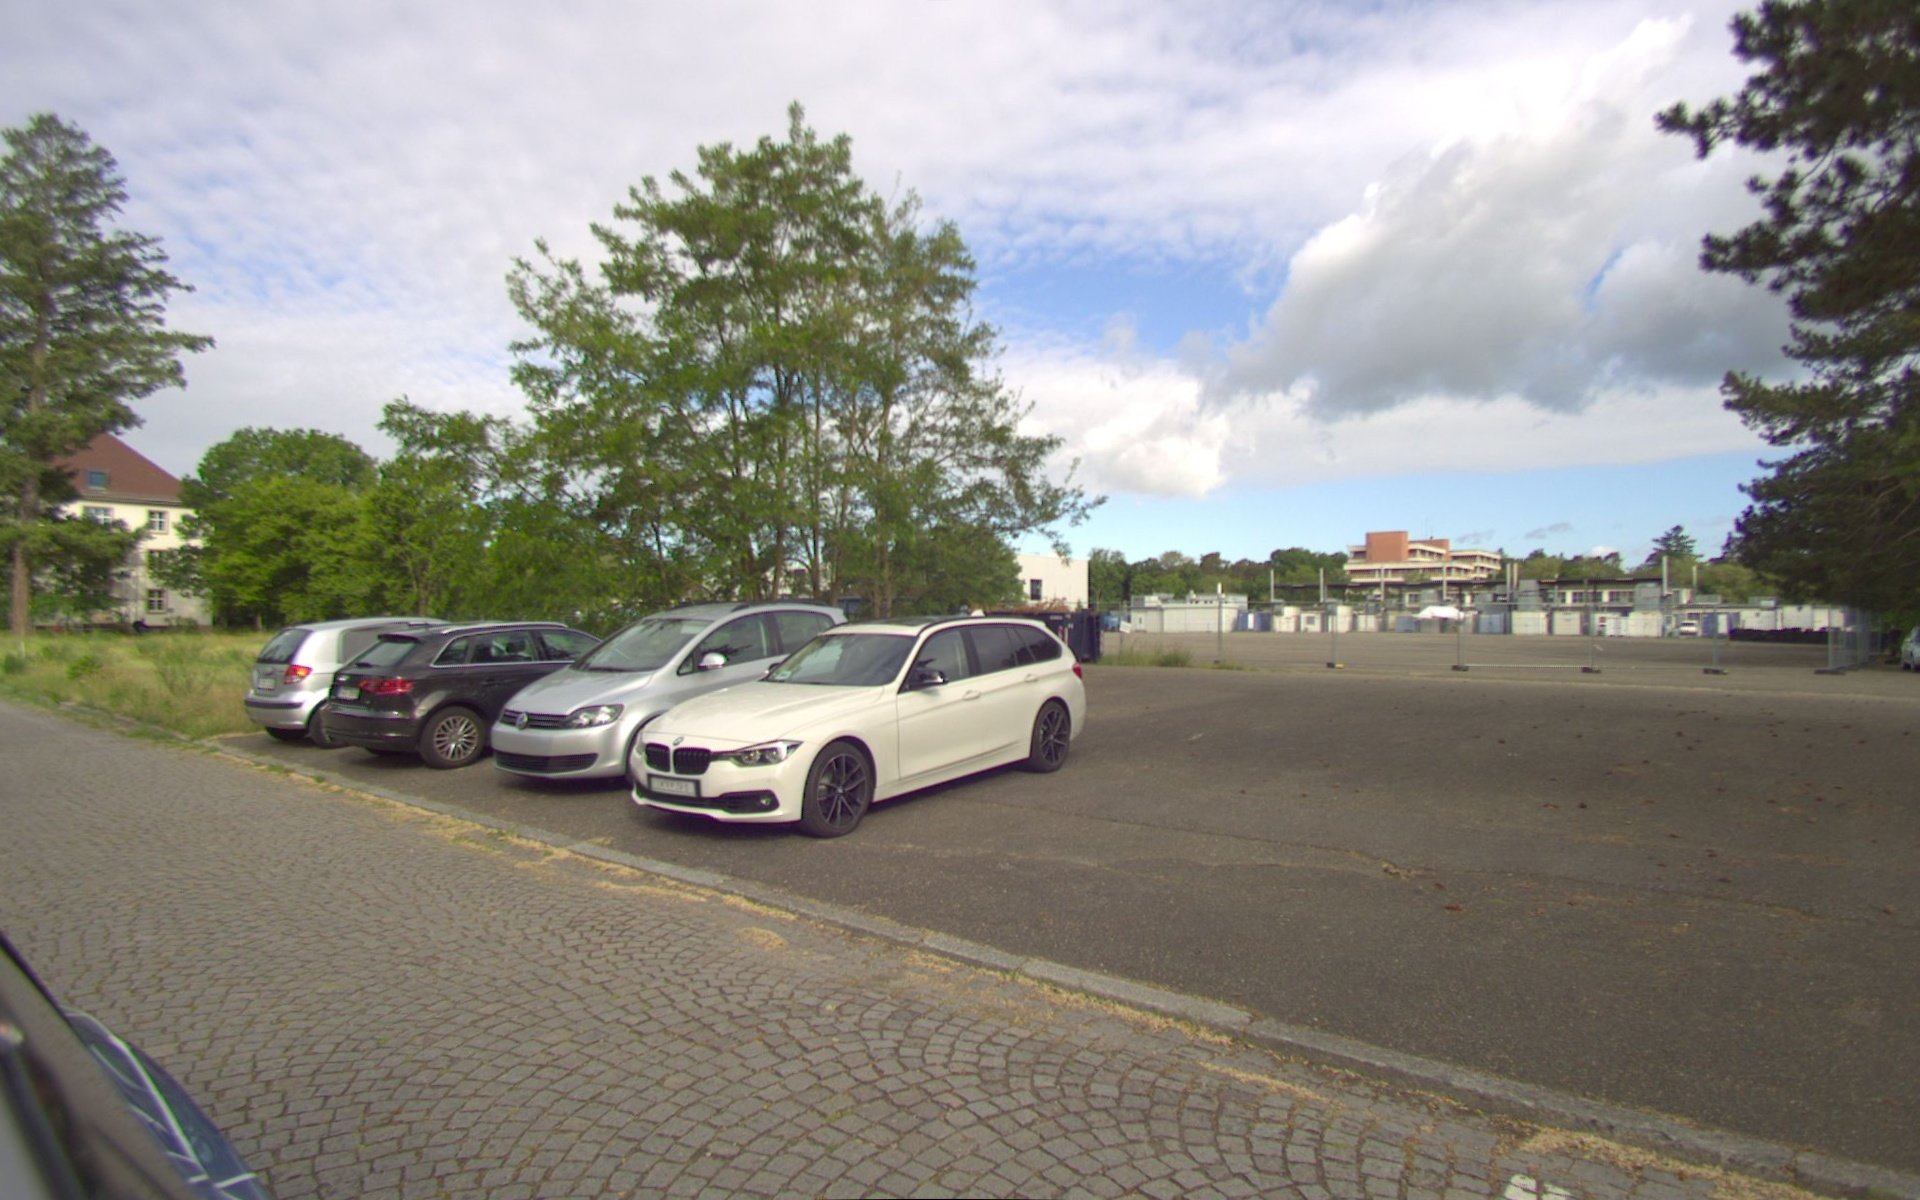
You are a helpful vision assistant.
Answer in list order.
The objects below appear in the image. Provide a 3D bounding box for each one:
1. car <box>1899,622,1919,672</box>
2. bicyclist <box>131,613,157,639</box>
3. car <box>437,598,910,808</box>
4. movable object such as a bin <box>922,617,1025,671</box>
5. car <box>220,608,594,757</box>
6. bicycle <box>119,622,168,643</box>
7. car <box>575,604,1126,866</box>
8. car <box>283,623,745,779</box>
[{"bbox_3d":[30.268,1.413,30.856,1.922,1.488,4.315,-1,-1,37],"label":"car"},{"bbox_3d":[-59.169,1.893,73.396,1.300,1.882,1.250,2,-2,-45],"label":"bicyclist"},{"bbox_3d":[-2.613,0.814,10.255,1.843,1.602,4.433,-1,0,36],"label":"car"},{"bbox_3d":[0.348,1.012,24.055,1.169,1.221,2.506,-1,-1,39],"label":"movable object such as a bin"},{"bbox_3d":[-7.031,0.932,13.250,1.677,1.467,3.940,-1,2,35],"label":"car"},{"bbox_3d":[-59.172,2.360,73.387,1.273,1.516,2.637,-2,-2,45],"label":"bicycle"},{"bbox_3d":[-0.576,0.837,8.628,1.910,1.450,4.761,-1,1,37],"label":"car"},{"bbox_3d":[-4.880,0.991,11.731,1.882,1.433,4.577,-1,-2,37],"label":"car"}]
